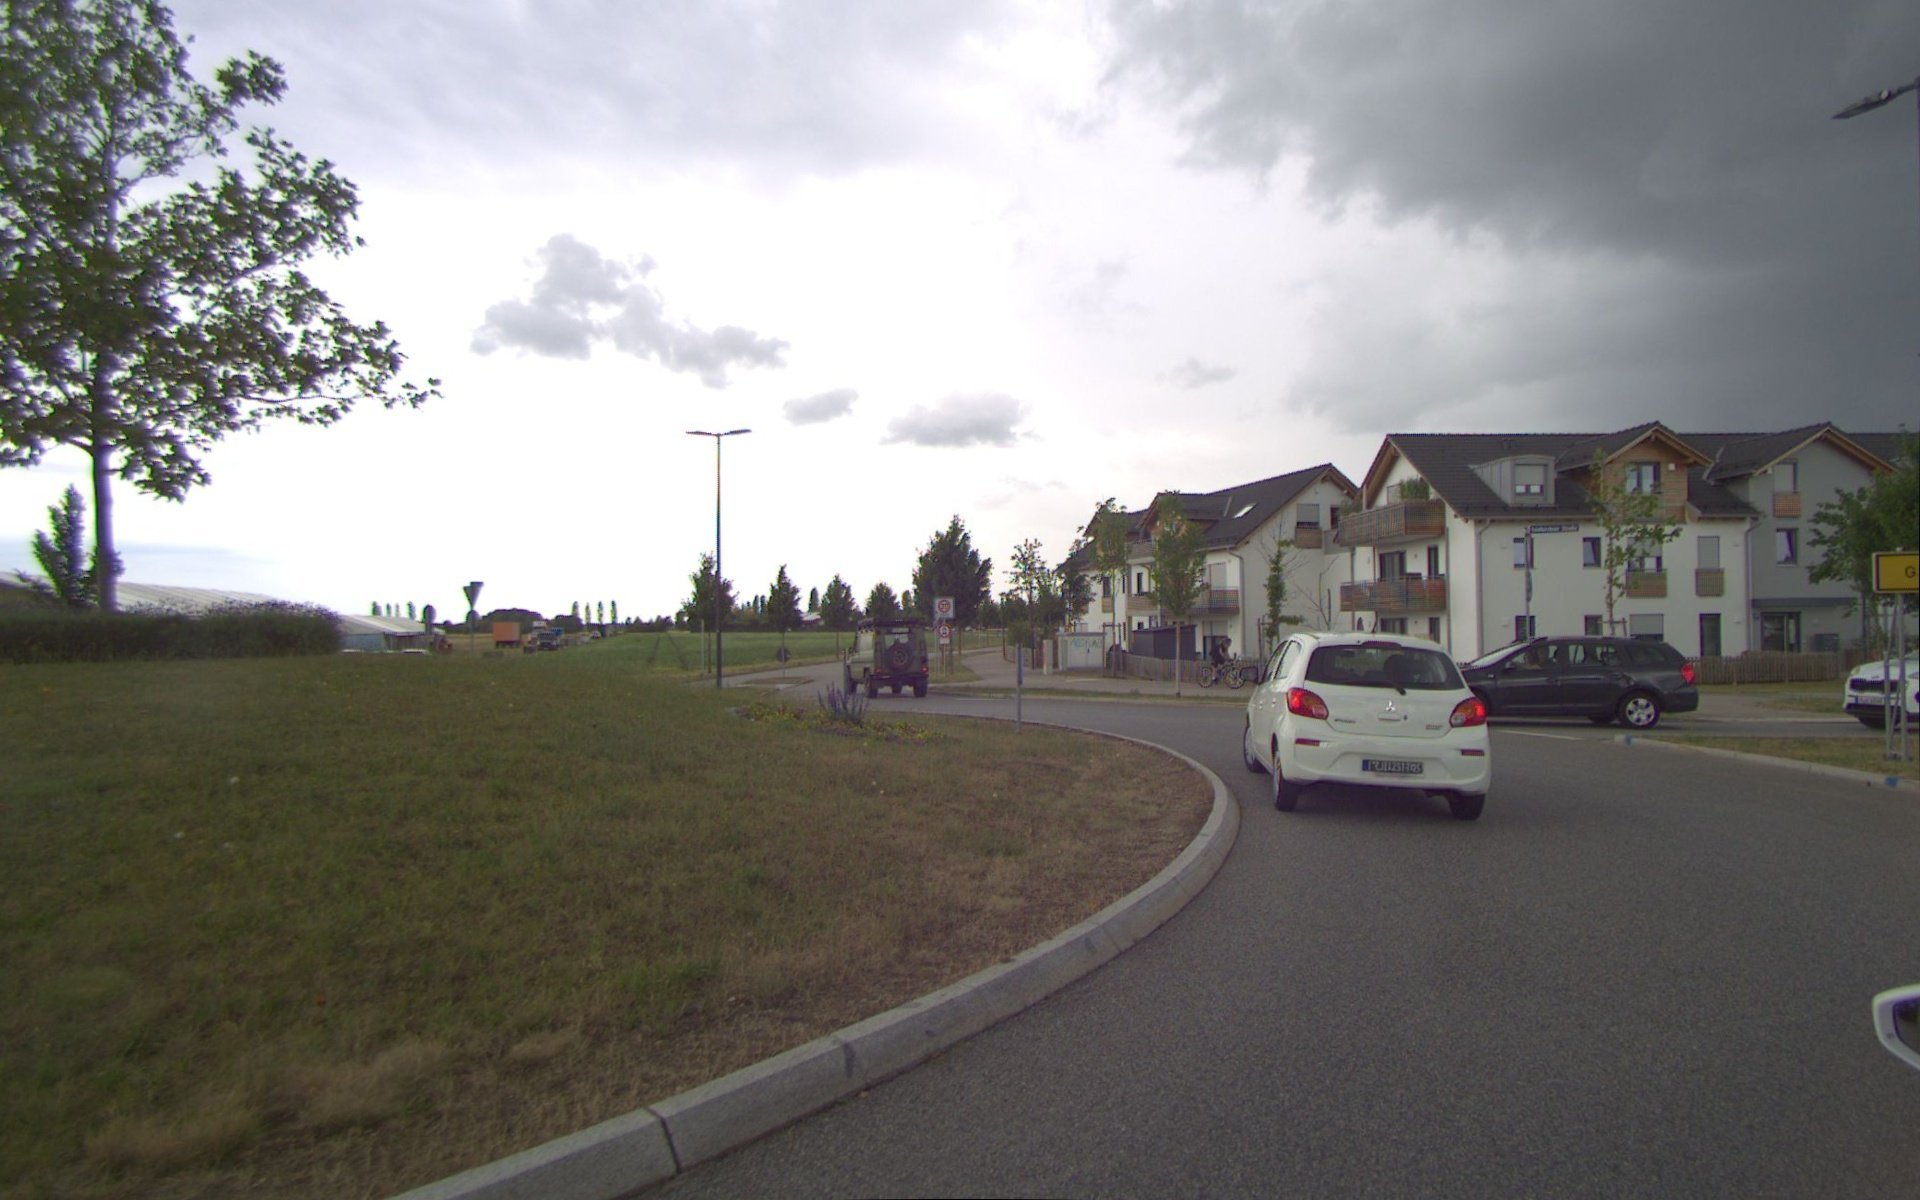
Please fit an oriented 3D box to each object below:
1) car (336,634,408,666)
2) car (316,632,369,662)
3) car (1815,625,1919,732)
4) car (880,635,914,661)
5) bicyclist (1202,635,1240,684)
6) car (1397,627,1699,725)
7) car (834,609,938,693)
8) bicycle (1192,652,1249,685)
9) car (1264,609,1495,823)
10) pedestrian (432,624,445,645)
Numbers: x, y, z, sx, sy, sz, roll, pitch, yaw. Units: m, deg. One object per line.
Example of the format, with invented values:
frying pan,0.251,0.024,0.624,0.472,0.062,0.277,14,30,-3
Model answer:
car,-31.347,2.629,53.522,3.807,1.628,1.633,-1,-1,30
car,-35.766,2.720,58.271,1.807,1.628,3.813,0,-1,-19
car,16.823,1.224,16.335,4.363,1.647,1.714,-1,-2,-1
car,-4.242,3.225,68.293,1.822,1.661,4.002,1,-1,3
bicyclist,7.972,1.803,30.658,0.718,1.465,0.860,1,-3,-38
car,10.119,1.293,17.632,4.192,1.584,1.775,-1,-3,12
car,-2.300,1.507,30.086,1.970,2.283,4.551,1,-2,-20
bicycle,7.937,2.080,30.648,0.493,0.958,1.694,2,-3,-39
car,3.626,0.927,9.157,1.600,1.539,3.401,0,-3,17
pedestrian,-53.652,3.543,103.348,1.034,2.040,1.057,0,-1,-16
